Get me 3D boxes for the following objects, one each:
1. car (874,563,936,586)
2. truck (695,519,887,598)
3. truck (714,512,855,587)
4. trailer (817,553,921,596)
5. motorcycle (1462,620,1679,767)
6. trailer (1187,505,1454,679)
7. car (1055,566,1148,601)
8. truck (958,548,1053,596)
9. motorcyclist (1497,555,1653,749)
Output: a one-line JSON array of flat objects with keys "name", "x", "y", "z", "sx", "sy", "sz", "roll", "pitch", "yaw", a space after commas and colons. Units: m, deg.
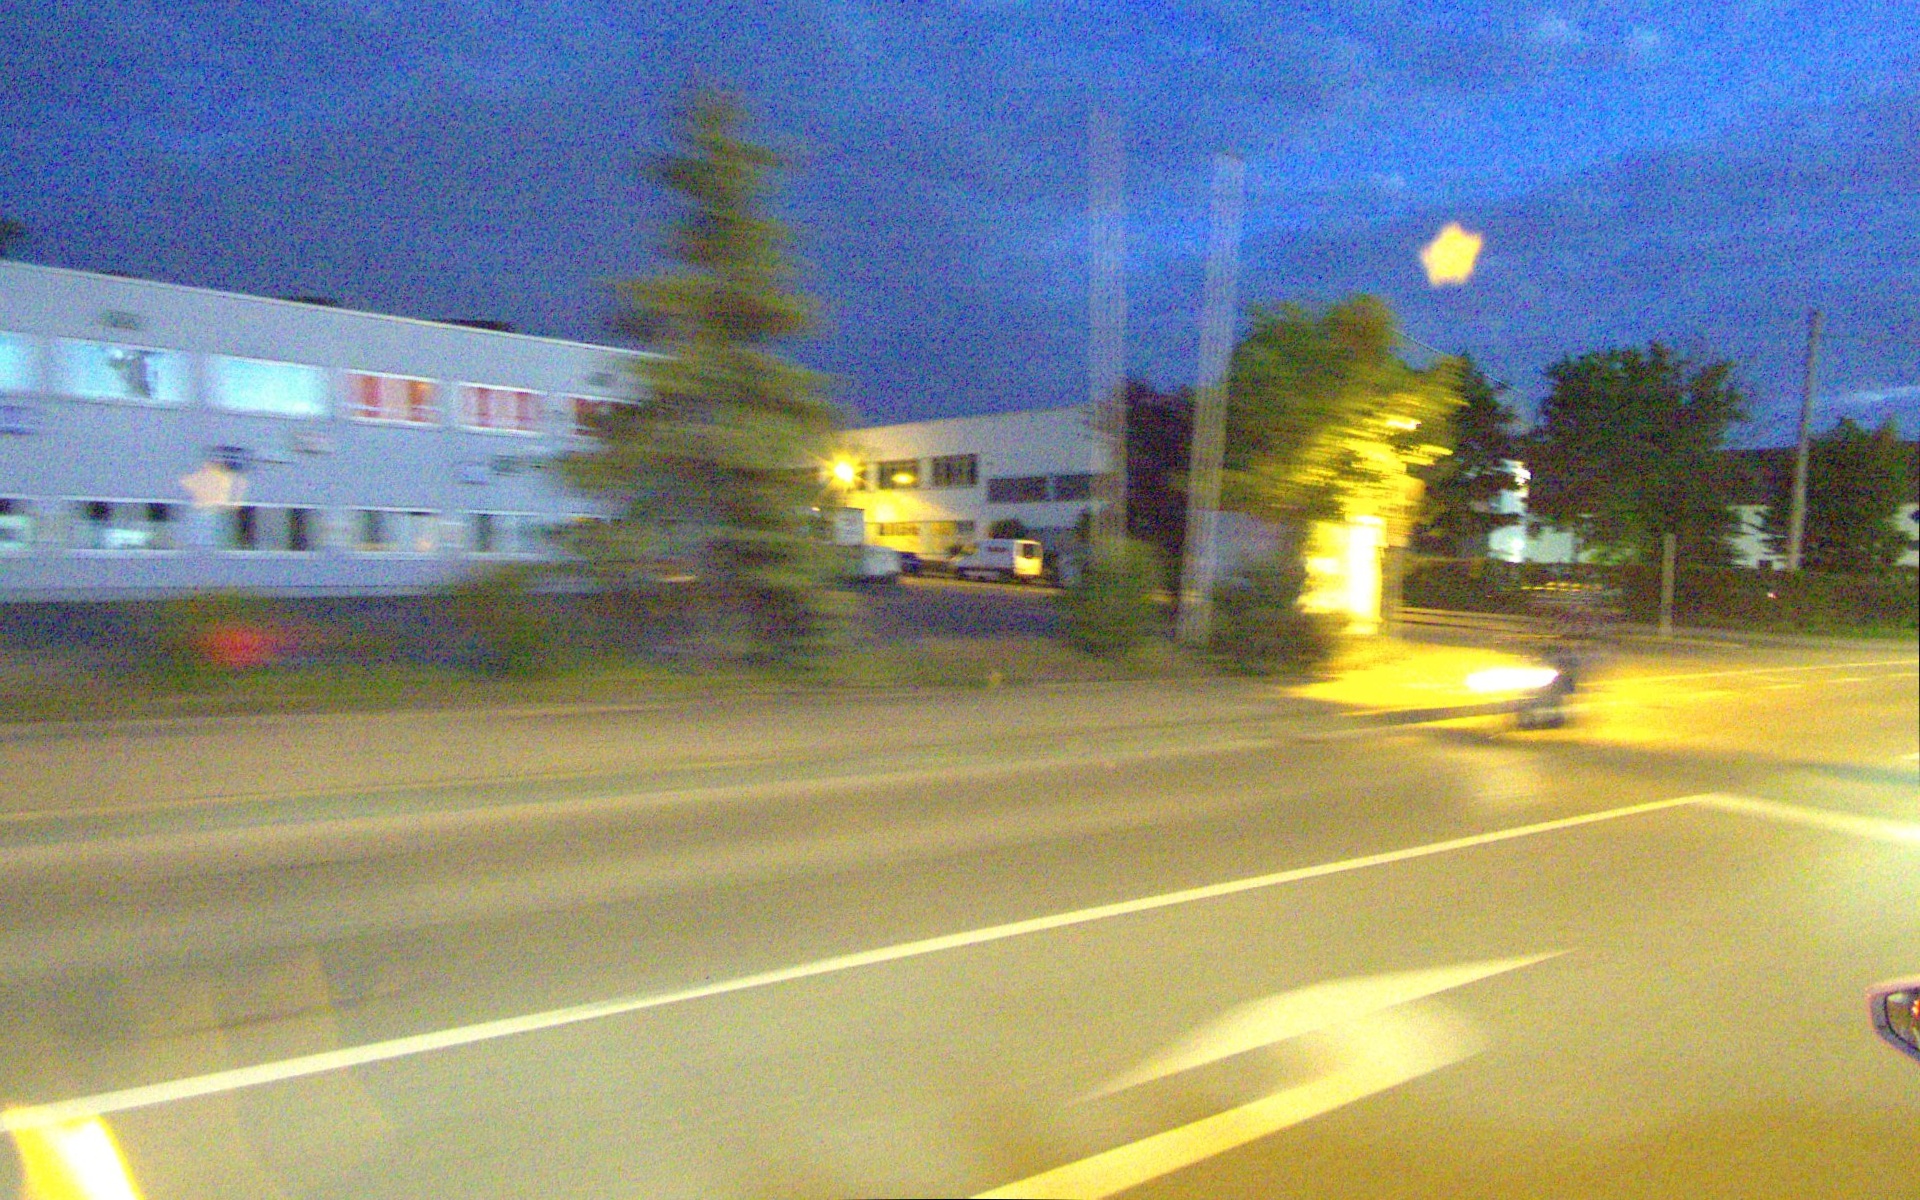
[{"name": "car", "x": -3.321, "y": -1.546, "z": 60.165, "sx": 3.519, "sy": 1.261, "sz": 1.771, "roll": 3, "pitch": 2, "yaw": 44}, {"name": "truck", "x": -12.089, "y": -3.008, "z": 69.227, "sx": 17.157, "sy": 4.875, "sz": 3.458, "roll": 4, "pitch": 3, "yaw": 44}, {"name": "truck", "x": -9.812, "y": -2.619, "z": 55.154, "sx": 2.855, "sy": 3.776, "sz": 9.478, "roll": 0, "pitch": 1, "yaw": -44}, {"name": "trailer", "x": -3.951, "y": -1.118, "z": 42.758, "sx": 1.863, "sy": 1.644, "sz": 5.181, "roll": 0, "pitch": 3, "yaw": -39}, {"name": "motorcycle", "x": 6.550, "y": 0.907, "z": 10.696, "sx": 2.800, "sy": 1.322, "sz": 0.990, "roll": 1, "pitch": 2, "yaw": -37}, {"name": "trailer", "x": 6.390, "y": -0.149, "z": 18.304, "sx": 1.977, "sy": 2.756, "sz": 4.326, "roll": 0, "pitch": 1, "yaw": -31}, {"name": "car", "x": 7.048, "y": -0.845, "z": 50.337, "sx": 4.289, "sy": 1.611, "sz": 1.898, "roll": 4, "pitch": 3, "yaw": 45}, {"name": "truck", "x": 2.449, "y": -1.566, "z": 54.925, "sx": 4.971, "sy": 2.422, "sz": 2.151, "roll": 4, "pitch": 3, "yaw": 43}, {"name": "motorcyclist", "x": 6.496, "y": 0.502, "z": 10.639, "sx": 0.826, "sy": 1.925, "sz": 1.125, "roll": 0, "pitch": 2, "yaw": -37}]
